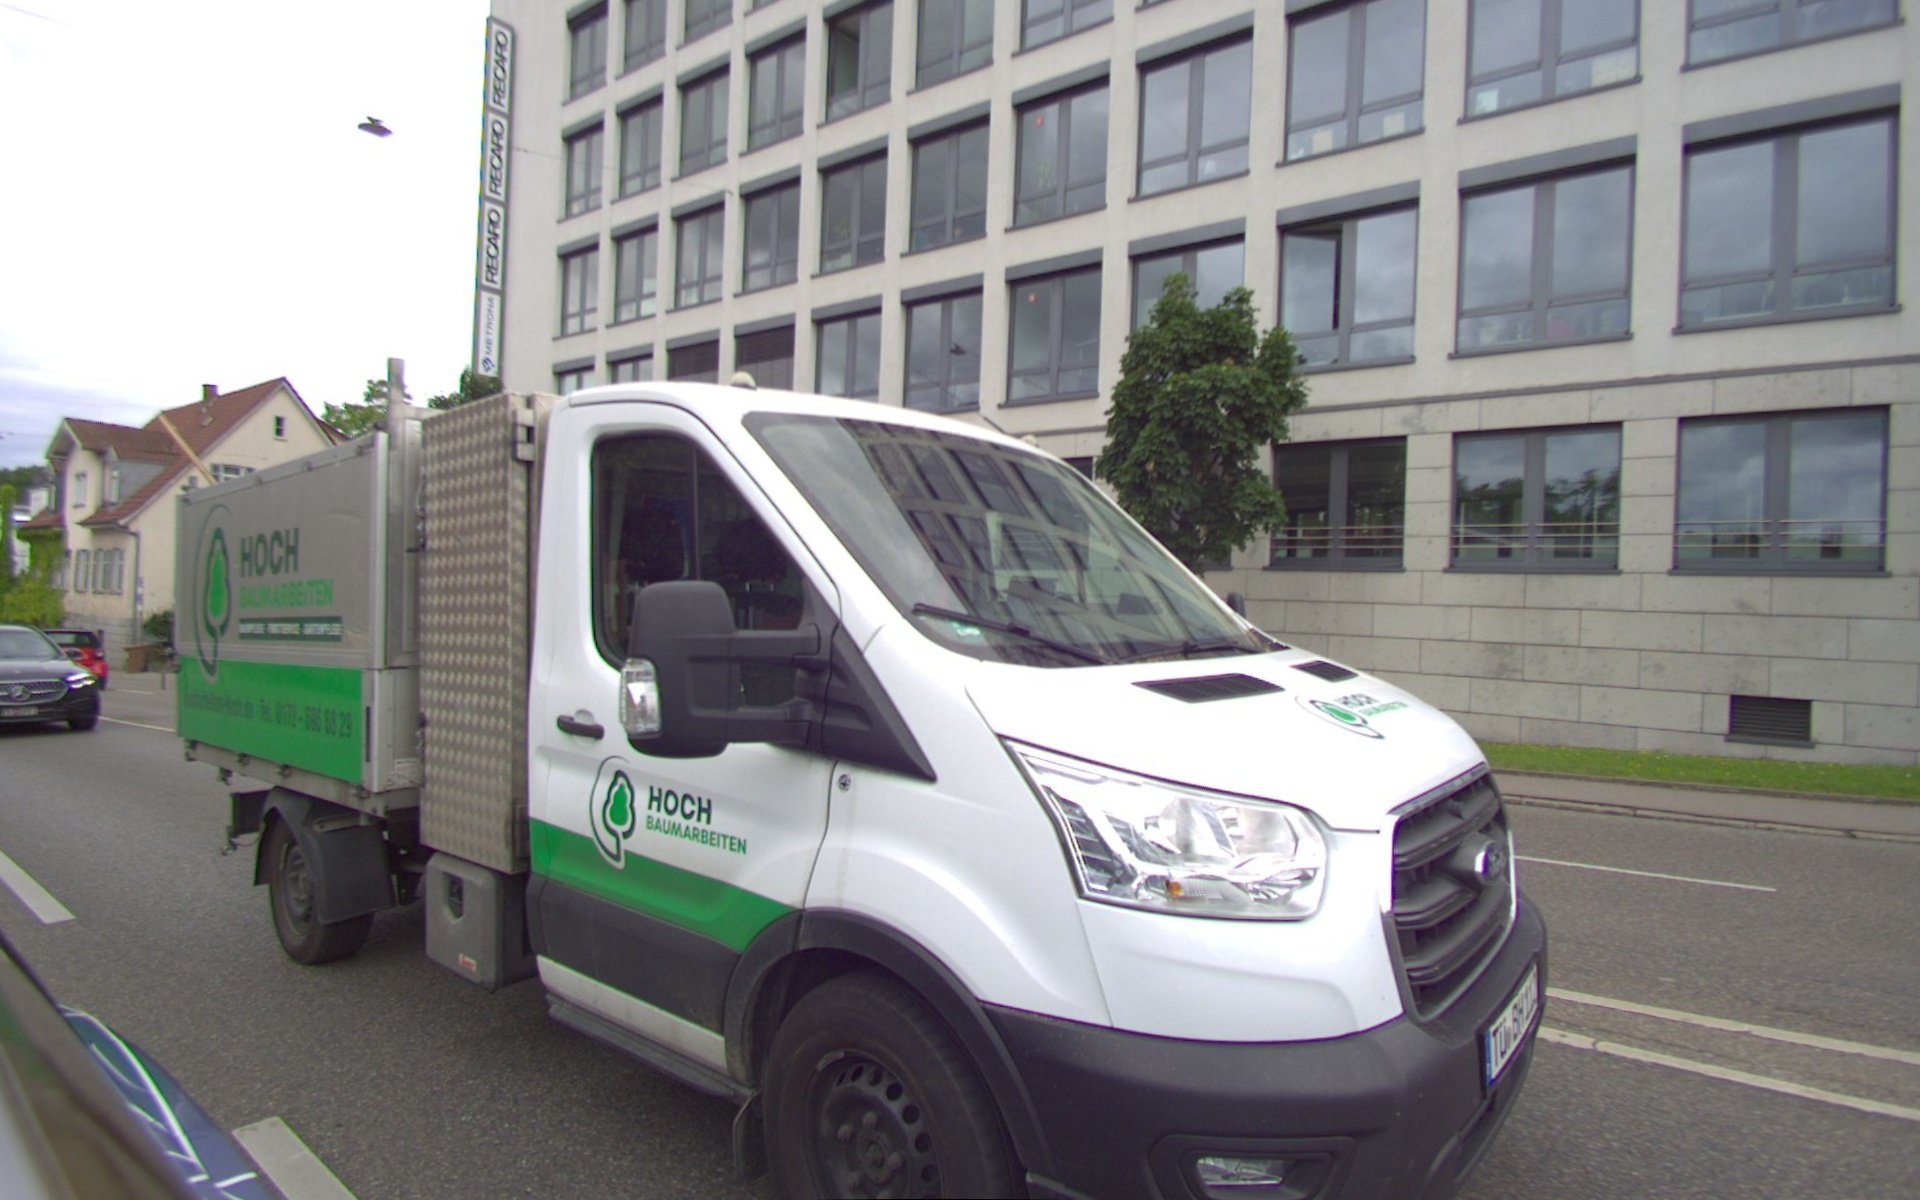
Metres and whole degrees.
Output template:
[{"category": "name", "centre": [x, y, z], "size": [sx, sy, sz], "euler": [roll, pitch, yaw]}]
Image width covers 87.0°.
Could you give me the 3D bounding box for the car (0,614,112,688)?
[{"category": "car", "centre": [-23.362, 1.291, 25.670], "size": [4.422, 1.715, 1.852], "euler": [-2, -5, 38]}]

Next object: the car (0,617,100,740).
[{"category": "car", "centre": [-13.773, 1.056, 14.087], "size": [4.328, 1.542, 1.856], "euler": [-2, -3, 37]}]

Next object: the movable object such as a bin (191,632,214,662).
[{"category": "movable object such as a bin", "centre": [-31.738, 1.965, 42.400], "size": [0.603, 1.198, 0.572], "euler": [-2, -2, 31]}]

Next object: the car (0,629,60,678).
[{"category": "car", "centre": [-37.341, 2.105, 39.906], "size": [4.646, 1.803, 1.852], "euler": [-2, -5, 38]}]

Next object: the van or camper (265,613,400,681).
[{"category": "van or camper", "centre": [-19.790, 1.487, 31.866], "size": [4.865, 1.983, 2.040], "euler": [-3, -3, 38]}]

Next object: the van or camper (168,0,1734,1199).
[{"category": "van or camper", "centre": [-0.812, 0.164, 3.895], "size": [5.960, 2.682, 2.320], "euler": [0, 0, 40]}]
